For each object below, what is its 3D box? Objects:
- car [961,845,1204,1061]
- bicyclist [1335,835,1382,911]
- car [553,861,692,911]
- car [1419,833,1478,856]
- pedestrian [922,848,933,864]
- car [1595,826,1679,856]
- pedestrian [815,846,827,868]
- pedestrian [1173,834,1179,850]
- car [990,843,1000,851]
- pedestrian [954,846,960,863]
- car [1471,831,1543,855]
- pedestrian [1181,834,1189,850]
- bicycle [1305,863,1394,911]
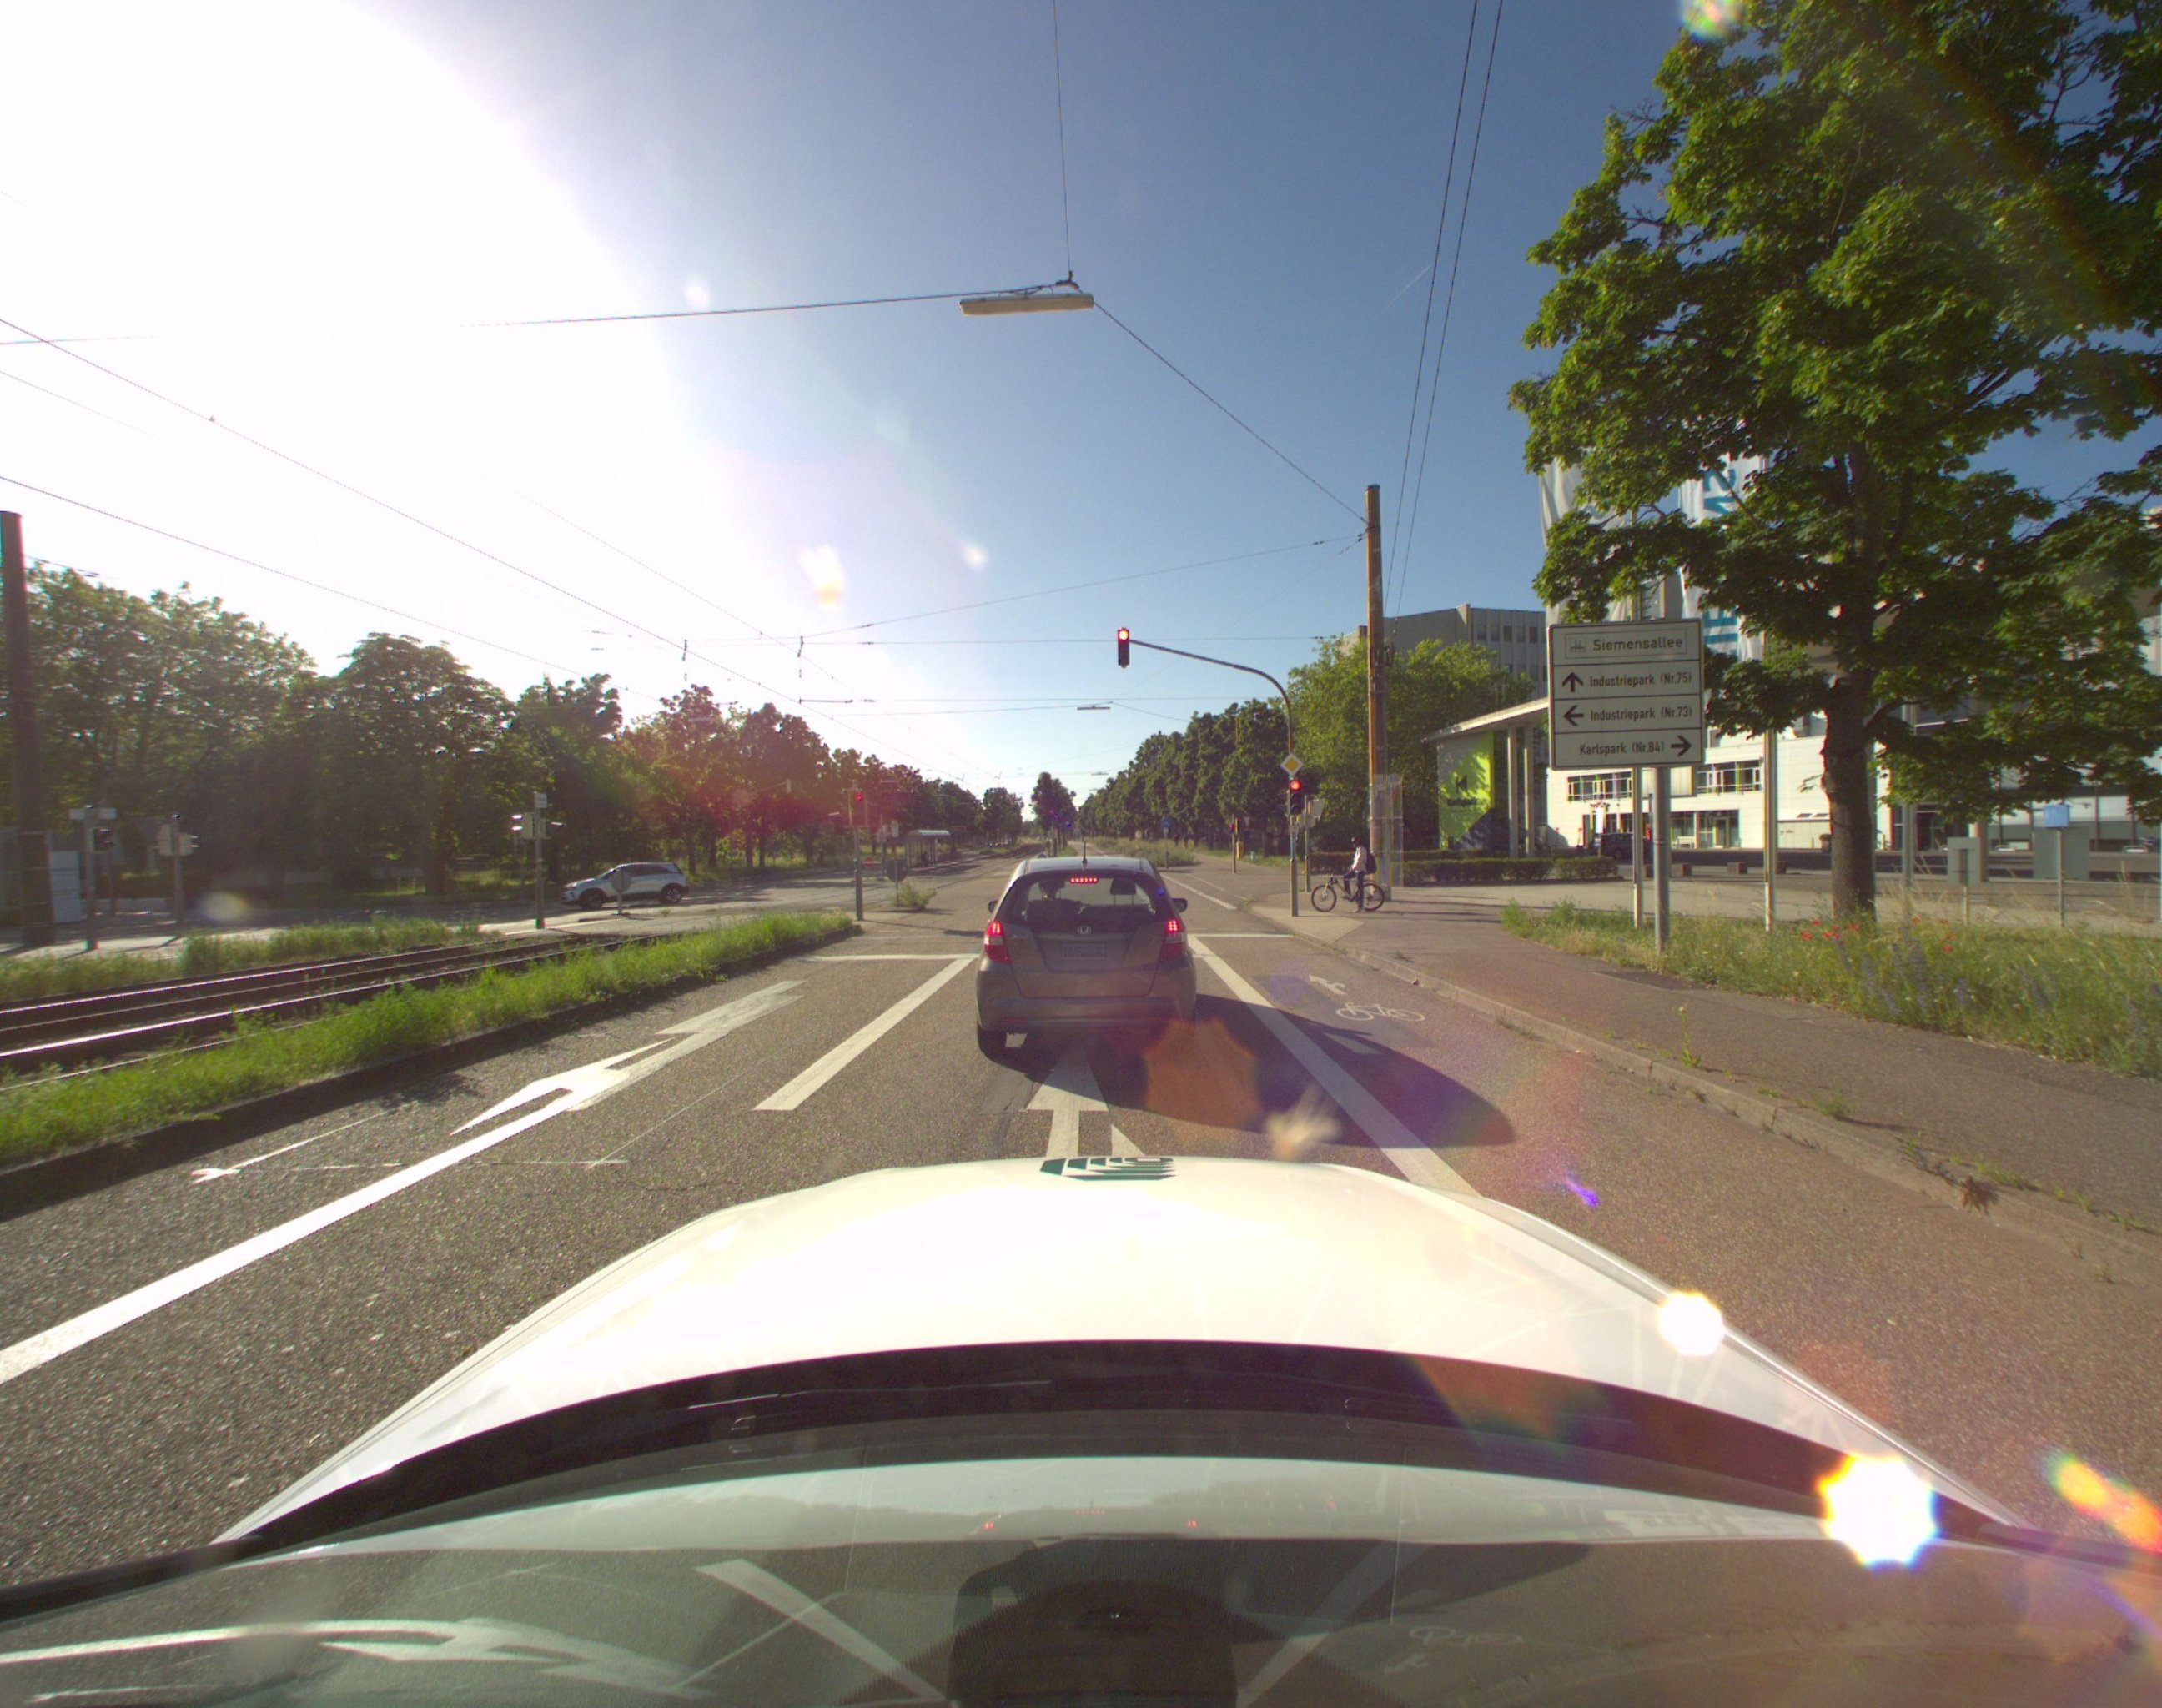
[{"bbox_3d":[0.095,0.695,7.741,1.700,1.509,4.003,-1,0,2],"label":"car"},{"bbox_3d":[6.591,0.448,19.350,0.904,1.745,0.767,-3,-1,12],"label":"bicyclist"},{"bbox_3d":[-16.930,1.122,30.144,4.273,1.606,1.836,-1,0,-36],"label":"car"},{"bbox_3d":[30.104,-0.790,66.761,3.989,1.757,1.993,-1,0,-11],"label":"car"},{"bbox_3d":[-12.481,0.162,66.097,0.718,1.246,0.710,-2,0,0],"label":"pedestrian"},{"bbox_3d":[33.719,-0.764,49.438,3.984,1.720,1.895,-1,0,-8],"label":"car"},{"bbox_3d":[-24.380,0.267,76.364,0.837,2.013,0.863,-1,0,0],"label":"pedestrian"},{"bbox_3d":[9.876,-1.231,84.670,0.565,1.596,0.665,0,0,-2],"label":"pedestrian"},{"bbox_3d":[-19.447,-1.671,184.545,1.761,1.738,3.999,-1,0,0],"label":"car"},{"bbox_3d":[-12.296,0.037,80.636,0.502,1.675,0.386,-1,0,-10],"label":"pedestrian"},{"bbox_3d":[31.194,-0.817,59.696,4.538,1.629,1.869,-1,0,-11],"label":"car"},{"bbox_3d":[10.802,-1.249,84.721,0.676,1.610,0.720,0,0,-1],"label":"pedestrian"},{"bbox_3d":[6.362,0.778,19.396,1.907,0.998,0.767,-3,-1,12],"label":"bicycle"}]
